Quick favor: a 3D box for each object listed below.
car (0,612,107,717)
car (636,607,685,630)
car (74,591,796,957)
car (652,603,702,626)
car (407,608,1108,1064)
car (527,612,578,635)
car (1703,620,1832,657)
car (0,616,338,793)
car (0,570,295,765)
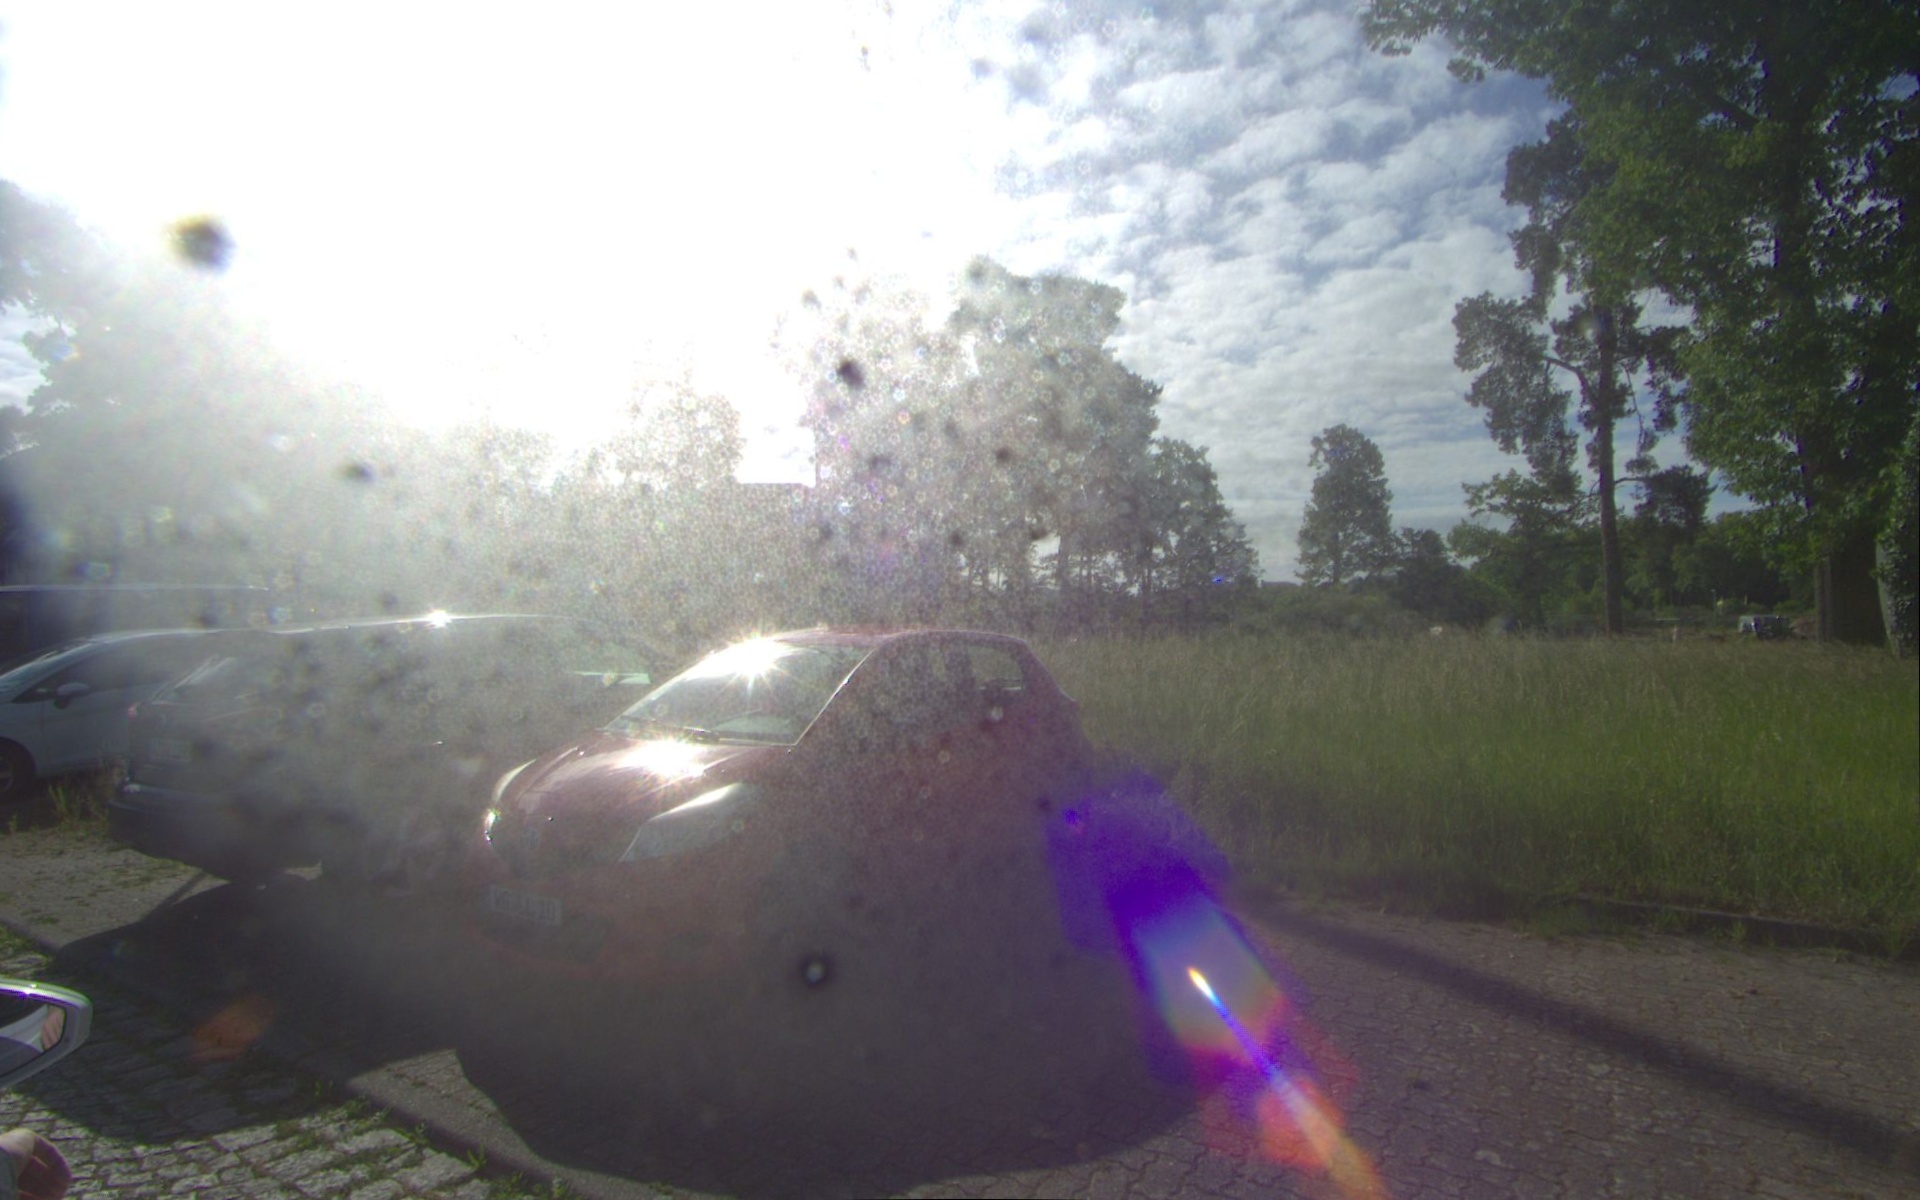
[{"bbox_3d":[-14.833,0.961,14.325,1.622,1.485,3.685,0,1,33],"label":"car"},{"bbox_3d":[-26.917,1.647,90.153,1.971,2.040,3.980,0,-1,32],"label":"car"},{"bbox_3d":[-3.038,0.827,6.649,1.746,1.642,3.931,0,-1,31],"label":"car"},{"bbox_3d":[-25.147,1.314,88.970,1.971,2.040,3.980,0,-1,32],"label":"car"},{"bbox_3d":[-0.692,0.846,5.446,1.621,1.550,3.756,0,-1,32],"label":"car"},{"bbox_3d":[-37.278,2.160,91.727,1.971,2.040,3.980,0,-1,32],"label":"car"},{"bbox_3d":[51.159,2.443,63.591,2.343,2.199,5.982,1,-2,-32],"label":"car"},{"bbox_3d":[-8.489,0.922,9.865,1.620,1.507,3.714,0,0,30],"label":"car"},{"bbox_3d":[-10.628,0.718,11.423,2.052,2.040,4.673,0,-1,29],"label":"car"}]
